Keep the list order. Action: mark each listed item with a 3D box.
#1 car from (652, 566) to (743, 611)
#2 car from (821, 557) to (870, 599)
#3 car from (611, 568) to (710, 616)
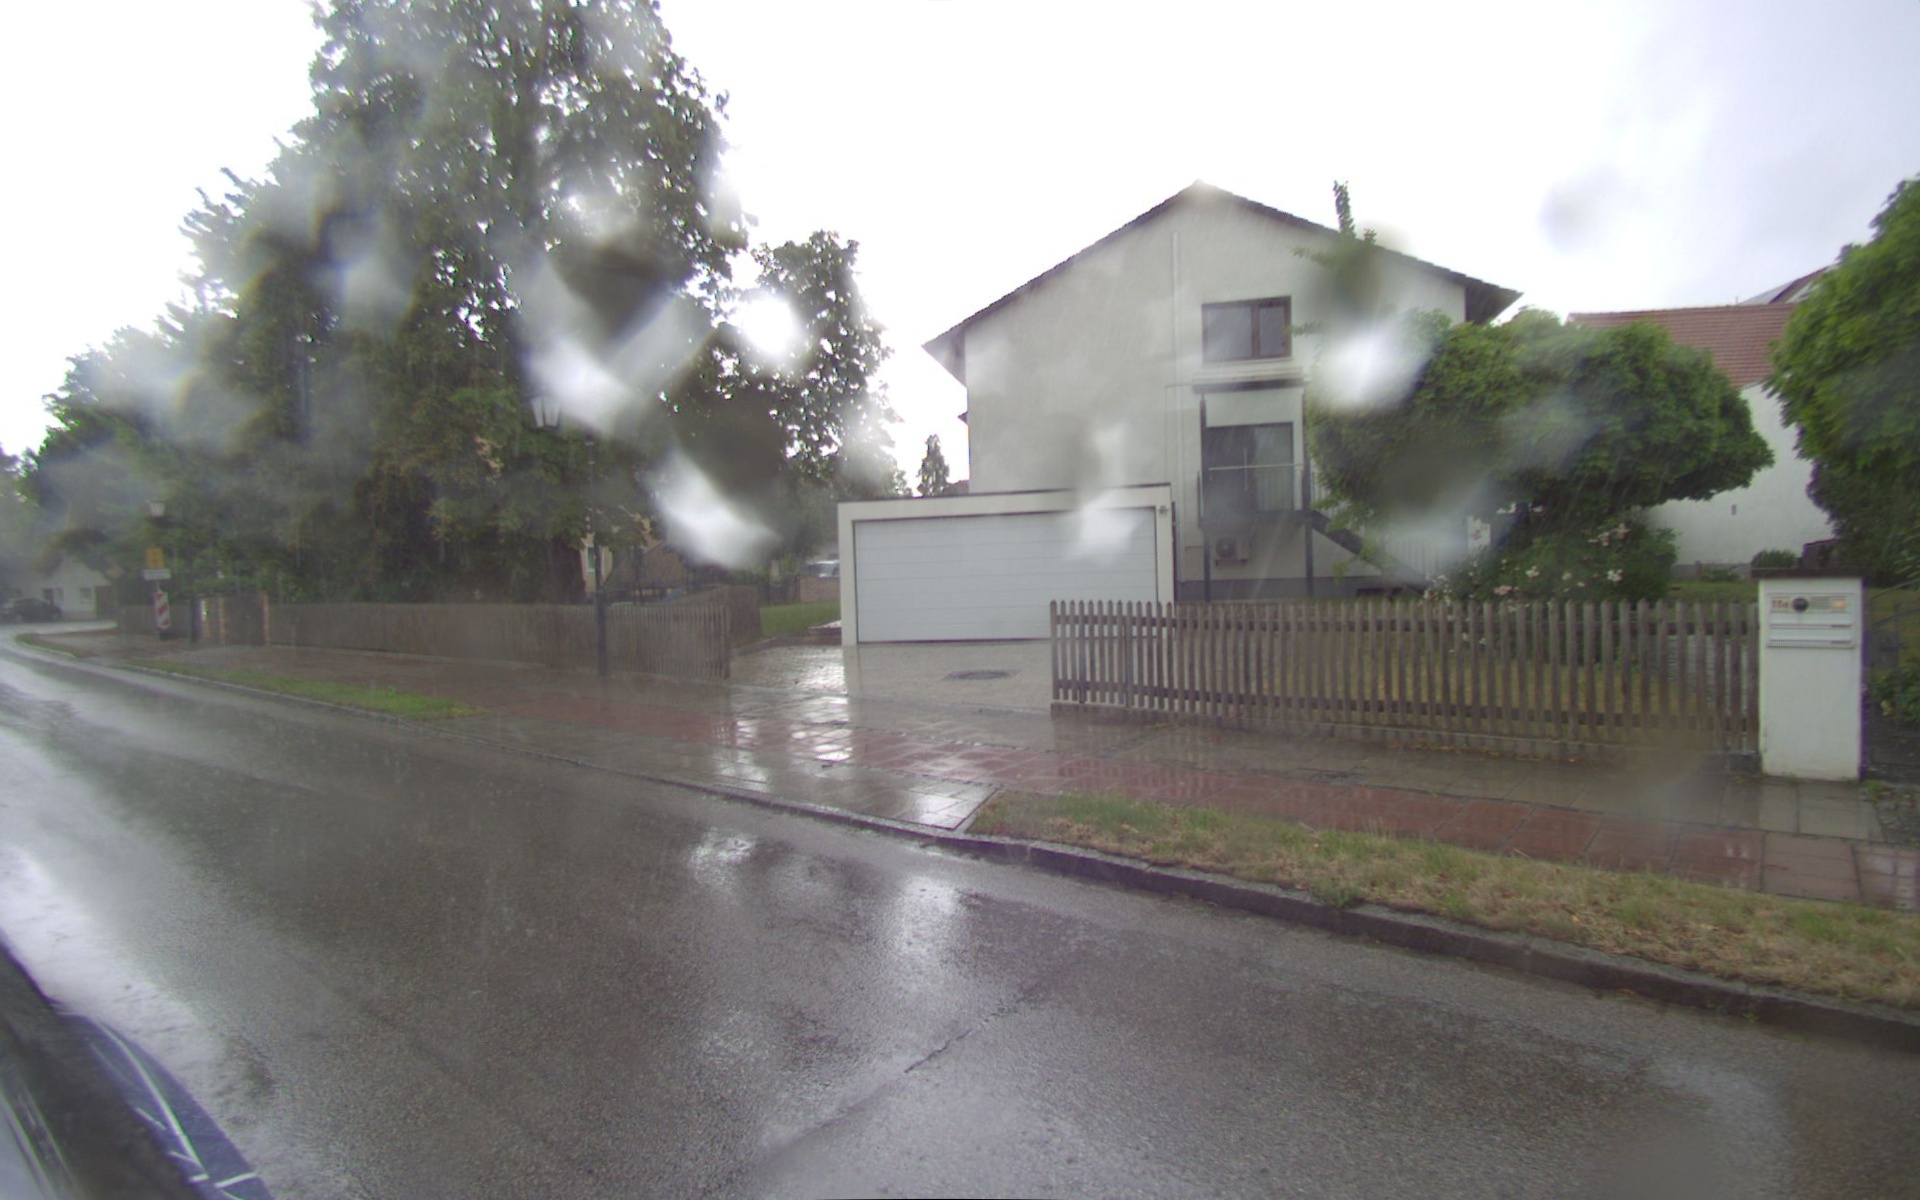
[{"bbox_3d":[-12.295,-0.549,47.450,3.613,1.815,1.839,-3,2,8],"label":"car"},{"bbox_3d":[-6.538,-1.234,58.208,1.768,2.311,3.838,-1,0,11],"label":"car"},{"bbox_3d":[-13.109,-0.368,44.398,3.613,1.815,1.839,-3,2,8],"label":"car"}]
